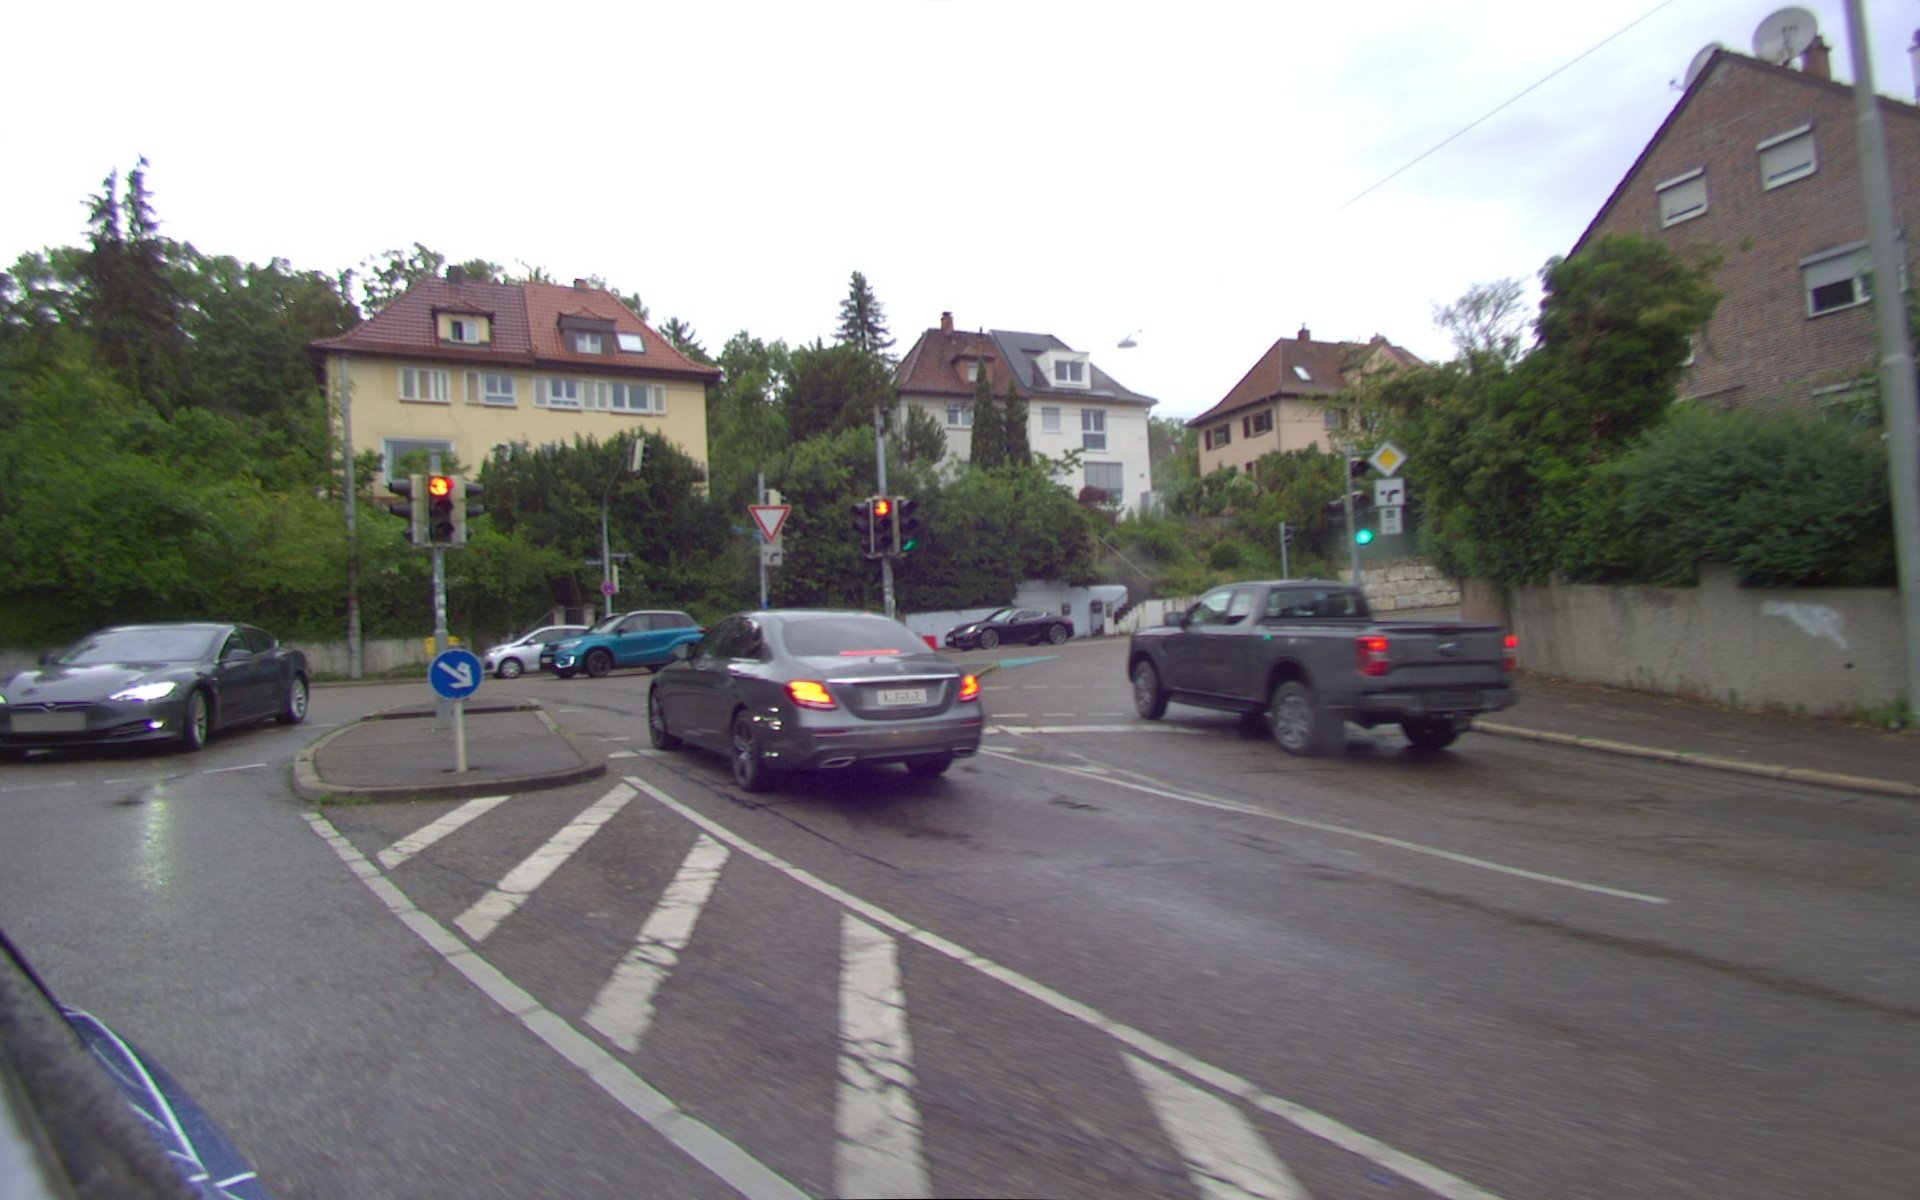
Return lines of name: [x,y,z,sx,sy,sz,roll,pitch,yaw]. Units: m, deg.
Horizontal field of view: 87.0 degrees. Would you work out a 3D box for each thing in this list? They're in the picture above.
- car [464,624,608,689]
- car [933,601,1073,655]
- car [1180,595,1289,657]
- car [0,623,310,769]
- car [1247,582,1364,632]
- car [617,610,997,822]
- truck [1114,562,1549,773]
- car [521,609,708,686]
car: [-11.771,1.566,28.163,3.312,1.462,1.555,-4,-3,-39]
car: [1.347,0.870,31.848,3.972,1.471,1.765,-3,-1,-21]
car: [7.274,0.627,26.507,1.706,1.478,4.217,-2,-1,30]
car: [-9.566,0.983,12.000,1.806,1.402,4.335,1,-1,-14]
car: [12.847,0.258,37.653,3.972,1.662,1.765,-2,-1,-27]
car: [-1.691,0.828,9.328,1.833,1.406,4.610,1,-1,-31]
truck: [3.823,0.627,11.730,1.856,1.862,5.296,1,-1,-18]
car: [-8.530,1.146,25.191,1.803,1.622,3.982,-7,-4,45]
